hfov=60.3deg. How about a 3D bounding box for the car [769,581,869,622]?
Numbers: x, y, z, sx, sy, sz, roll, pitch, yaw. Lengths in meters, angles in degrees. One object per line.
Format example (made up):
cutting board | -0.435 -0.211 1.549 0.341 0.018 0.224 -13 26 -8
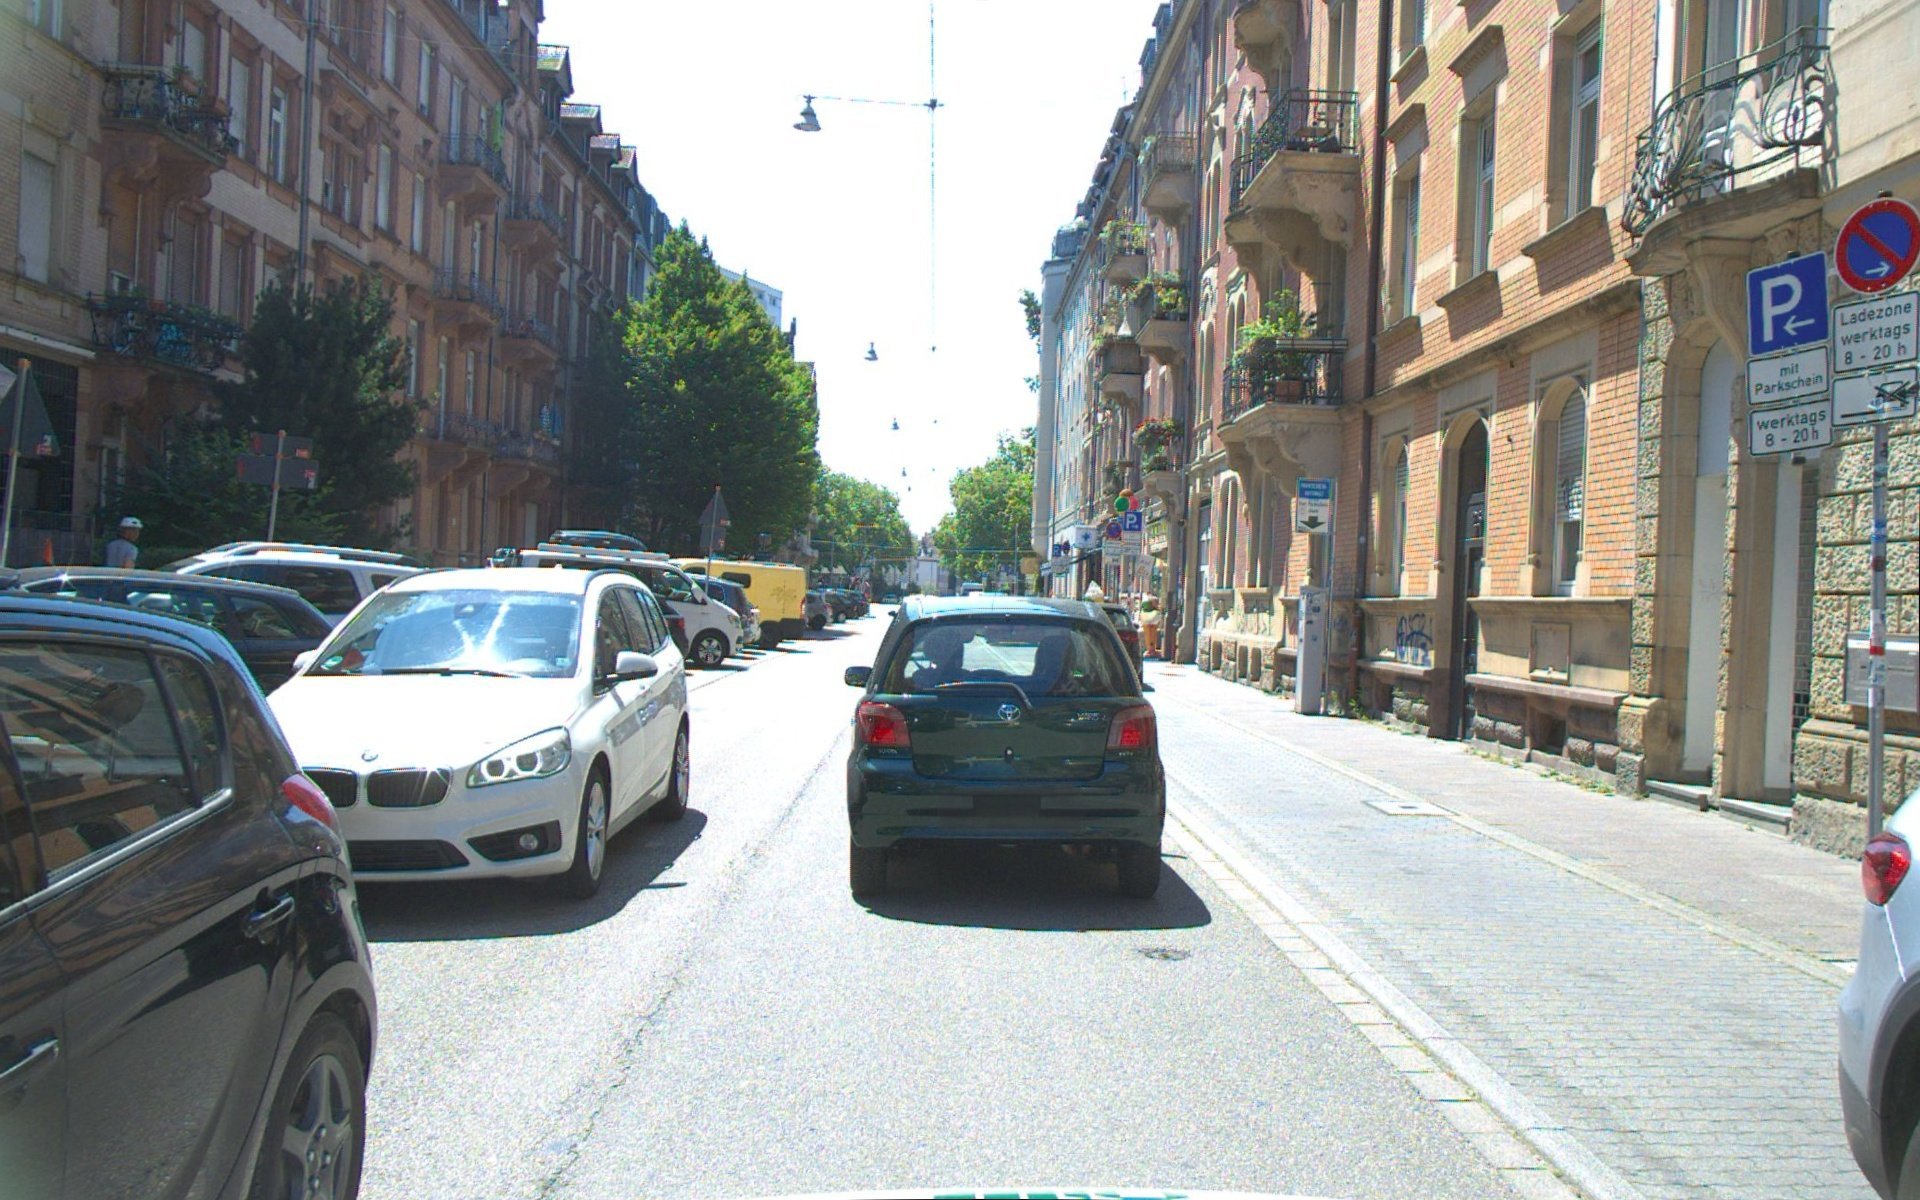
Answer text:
car | -7.073 0.078 83.183 4.554 1.756 1.982 3 0 -28

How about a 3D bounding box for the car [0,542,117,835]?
car | -6.430 0.338 8.498 3.582 1.483 1.608 5 0 -31

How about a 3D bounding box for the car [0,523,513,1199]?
car | -2.011 0.607 2.223 1.719 1.469 3.999 2 0 -1

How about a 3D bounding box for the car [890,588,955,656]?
car | -0.940 0.528 41.345 1.492 1.547 3.263 3 0 -2

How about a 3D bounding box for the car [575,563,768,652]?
car | -6.427 0.157 36.833 3.860 1.738 1.852 3 0 -25

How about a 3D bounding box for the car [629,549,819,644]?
car | -6.216 -0.092 43.665 4.506 2.225 1.982 3 0 -28

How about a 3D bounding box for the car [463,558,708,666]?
car | -6.579 0.208 29.074 3.860 1.647 1.852 3 0 -25

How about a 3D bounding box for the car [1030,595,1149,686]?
car | 2.255 0.675 29.633 1.719 1.454 3.999 2 0 -1

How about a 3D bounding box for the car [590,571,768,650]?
car | -6.729 0.250 39.615 3.812 1.668 1.772 3 0 -25

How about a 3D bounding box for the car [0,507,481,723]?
car | -6.485 0.158 14.583 3.888 1.647 1.838 3 0 -42

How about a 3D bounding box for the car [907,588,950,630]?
car | -1.272 0.340 68.002 1.491 1.620 3.264 3 0 2

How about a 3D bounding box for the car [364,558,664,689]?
car | -6.416 0.336 23.784 3.860 1.647 1.852 3 0 -25

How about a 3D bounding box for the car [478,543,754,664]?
car | -6.554 0.074 31.678 4.722 2.029 2.033 3 0 -30

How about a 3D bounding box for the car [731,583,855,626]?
car | -6.657 0.180 66.134 4.506 1.453 1.982 3 0 -28

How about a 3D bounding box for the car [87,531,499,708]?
car | -7.137 0.220 17.880 3.860 1.647 1.852 3 0 -25

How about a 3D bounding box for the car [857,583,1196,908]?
car | 0.243 0.691 9.472 1.581 1.511 3.239 1 0 -3

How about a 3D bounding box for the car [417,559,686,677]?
car | -6.538 0.291 26.486 3.860 1.647 1.852 3 0 -25

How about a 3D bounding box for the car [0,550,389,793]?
car | -6.166 0.429 11.239 3.889 1.495 1.838 3 0 -42

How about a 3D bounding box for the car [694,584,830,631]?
car | -7.243 0.288 60.525 4.506 1.459 1.982 3 0 -28

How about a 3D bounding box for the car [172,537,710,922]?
car | -2.586 0.560 9.393 1.719 1.674 4.377 0 0 -1

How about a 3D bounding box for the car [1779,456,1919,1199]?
car | 2.782 0.610 1.494 1.833 1.743 4.503 1 0 0

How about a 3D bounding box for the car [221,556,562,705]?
car | -7.183 0.385 20.905 3.860 1.647 1.852 3 0 -25
